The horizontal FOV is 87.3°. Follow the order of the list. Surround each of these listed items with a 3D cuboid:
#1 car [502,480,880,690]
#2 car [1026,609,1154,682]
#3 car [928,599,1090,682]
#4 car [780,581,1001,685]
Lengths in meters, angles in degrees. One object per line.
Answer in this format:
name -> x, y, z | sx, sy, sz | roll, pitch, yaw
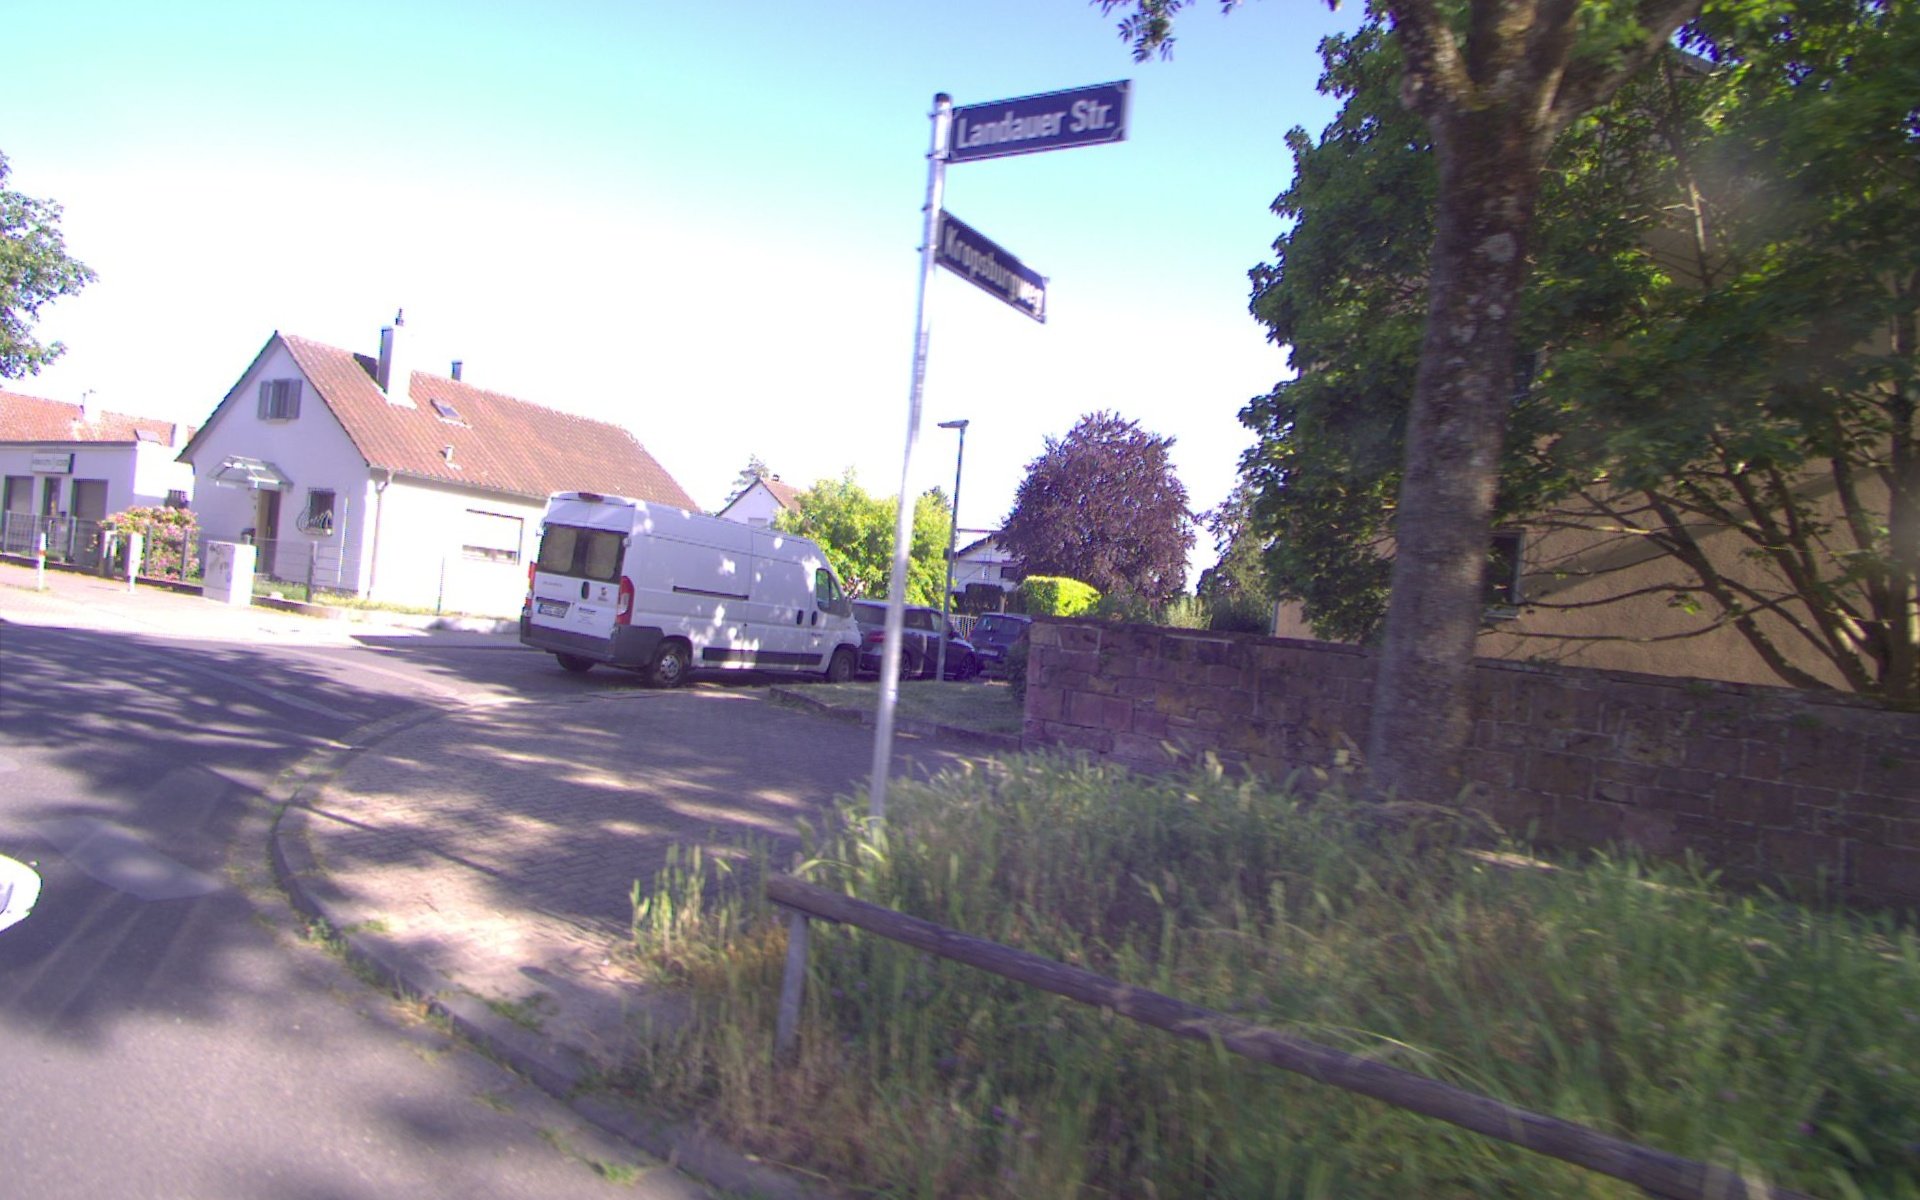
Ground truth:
car -> -3.825, -0.065, 15.647 | 2.227, 2.570, 5.605 | 6, 0, 29
car -> 4.093, 1.459, 30.880 | 2.245, 1.706, 4.753 | 7, -2, 28
car -> 1.394, 1.109, 26.003 | 2.245, 1.600, 4.754 | 7, -2, 28
car -> -1.264, 0.765, 20.804 | 2.245, 1.600, 4.754 | 7, -2, 28
